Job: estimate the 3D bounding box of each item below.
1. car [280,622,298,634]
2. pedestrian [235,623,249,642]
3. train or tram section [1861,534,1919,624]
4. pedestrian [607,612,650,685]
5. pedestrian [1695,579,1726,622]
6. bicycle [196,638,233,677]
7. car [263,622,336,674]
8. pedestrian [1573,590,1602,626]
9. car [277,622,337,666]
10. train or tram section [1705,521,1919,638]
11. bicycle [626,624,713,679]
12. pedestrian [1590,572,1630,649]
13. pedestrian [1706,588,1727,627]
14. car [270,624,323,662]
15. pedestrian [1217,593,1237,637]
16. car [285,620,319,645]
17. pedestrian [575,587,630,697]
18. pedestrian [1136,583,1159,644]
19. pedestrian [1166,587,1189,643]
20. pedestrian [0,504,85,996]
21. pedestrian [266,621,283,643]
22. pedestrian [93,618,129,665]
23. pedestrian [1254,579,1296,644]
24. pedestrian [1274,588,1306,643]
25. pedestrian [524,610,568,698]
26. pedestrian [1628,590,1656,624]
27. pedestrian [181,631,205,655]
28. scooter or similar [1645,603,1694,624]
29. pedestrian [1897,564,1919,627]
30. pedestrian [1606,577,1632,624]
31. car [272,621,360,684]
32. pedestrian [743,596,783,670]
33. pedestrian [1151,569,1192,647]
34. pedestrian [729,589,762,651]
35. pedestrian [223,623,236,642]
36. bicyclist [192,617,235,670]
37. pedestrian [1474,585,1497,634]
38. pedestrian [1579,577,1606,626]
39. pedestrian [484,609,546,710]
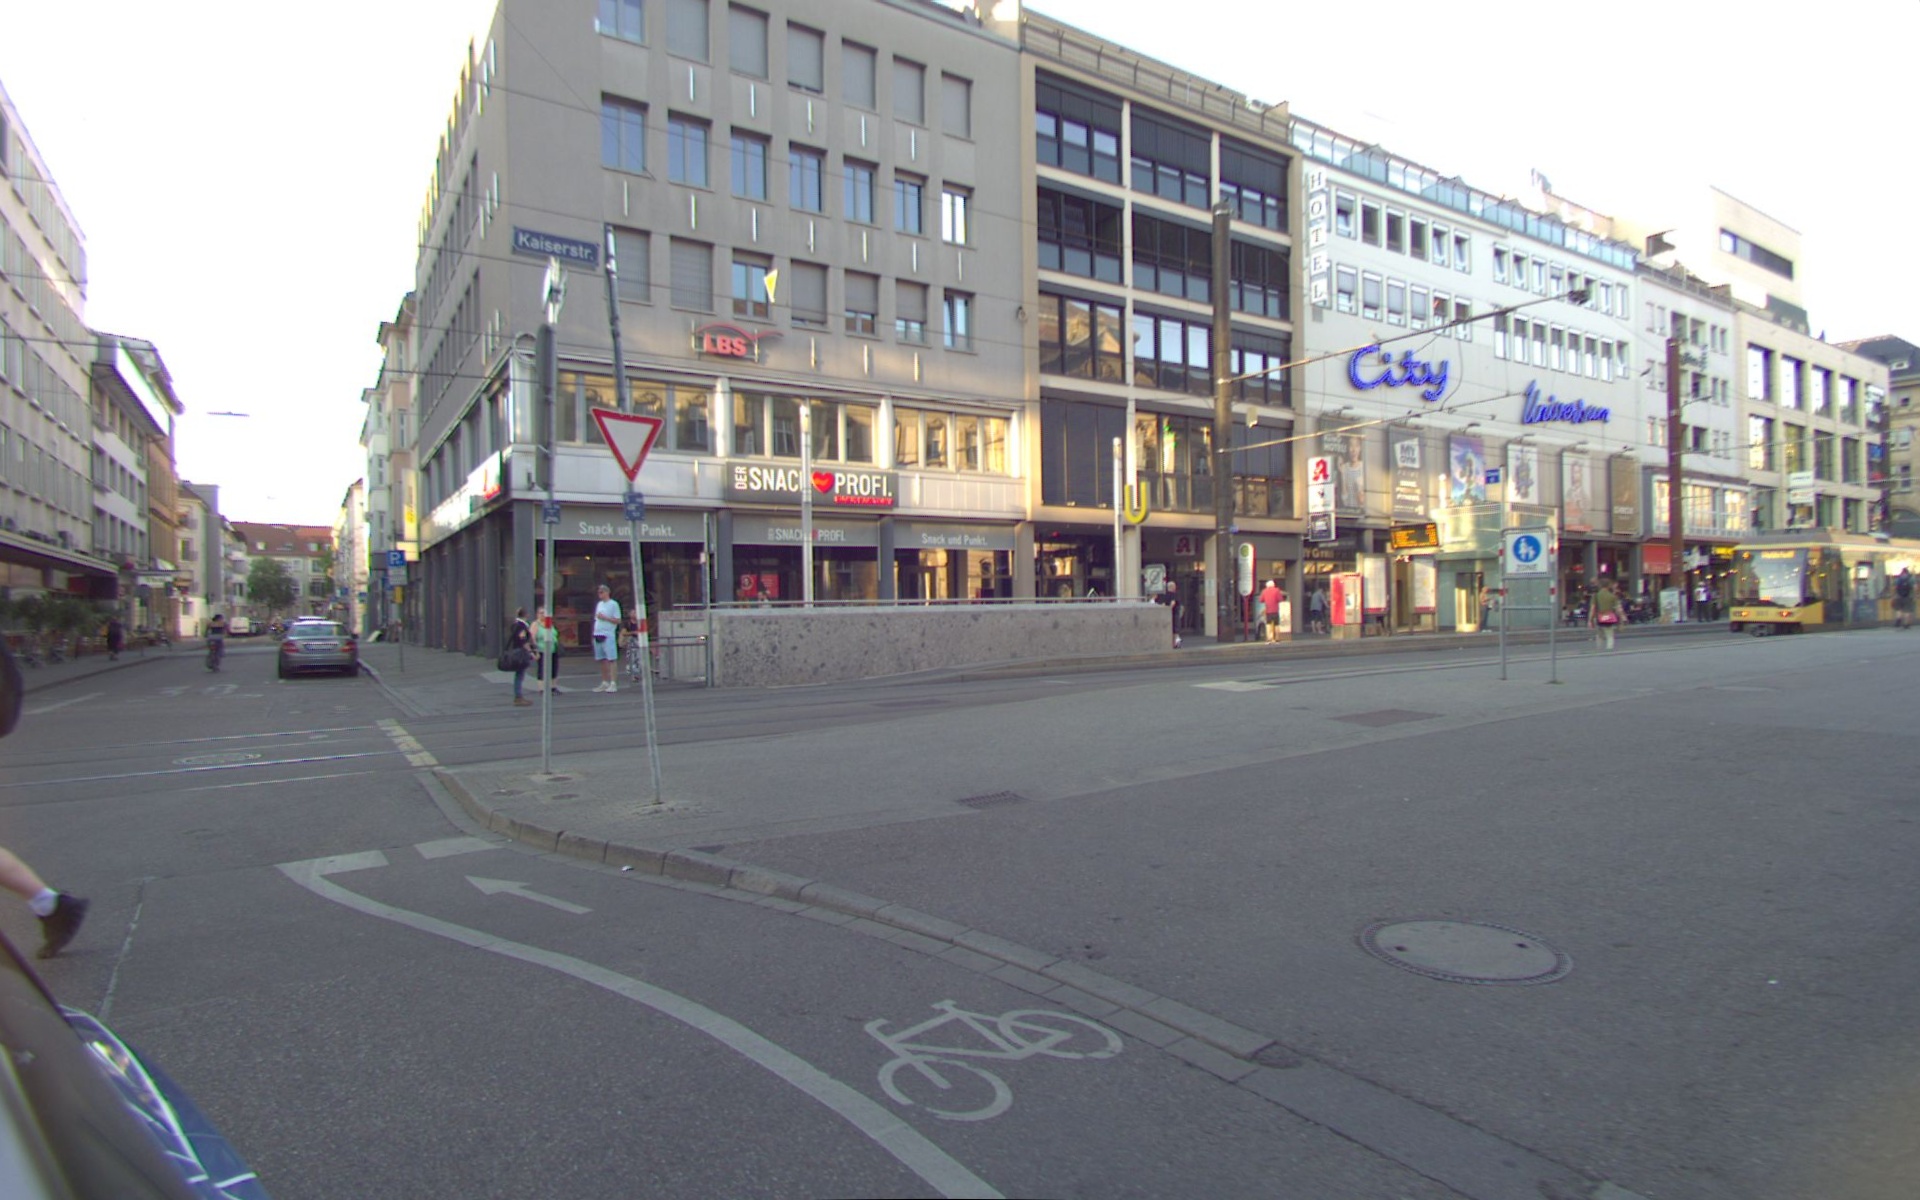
[{"bbox_3d":[-82.777,3.430,124.891,1.769,1.522,4.011,0,-1,-32],"label":"car"},{"bbox_3d":[-64.251,2.874,90.597,0.961,1.674,0.981,-1,0,-33],"label":"pedestrian"},{"bbox_3d":[41.631,-0.904,41.964,14.265,3.344,2.817,-1,-1,-34],"label":"train or tram section"},{"bbox_3d":[-6.719,0.974,20.528,0.676,1.445,0.554,-1,-1,5],"label":"pedestrian"},{"bbox_3d":[30.637,0.038,41.319,0.697,1.738,0.777,0,-2,-33],"label":"pedestrian"},{"bbox_3d":[-22.405,1.701,30.426,0.804,1.081,2.119,-1,-1,-34],"label":"bicycle"},{"bbox_3d":[-20.844,1.458,31.865,1.770,1.522,4.143,0,-1,-35],"label":"car"},{"bbox_3d":[24.817,0.326,40.010,0.708,1.389,0.711,0,-2,-34],"label":"pedestrian"},{"bbox_3d":[-24.010,1.571,37.282,1.769,1.522,4.011,0,-1,-32],"label":"car"},{"bbox_3d":[29.768,-0.670,34.048,14.265,3.344,2.817,-1,-1,-34],"label":"train or tram section"},{"bbox_3d":[-6.476,1.132,22.616,1.769,1.116,0.502,-3,0,-28],"label":"bicycle"},{"bbox_3d":[14.830,0.246,23.093,0.718,1.738,0.701,-2,-2,35],"label":"pedestrian"},{"bbox_3d":[34.301,0.331,45.863,0.598,1.740,0.604,0,-2,-40],"label":"pedestrian"},{"bbox_3d":[-27.839,1.765,42.550,1.769,1.522,4.011,0,-1,-32],"label":"car"},{"bbox_3d":[9.660,0.548,36.615,0.510,1.559,0.510,0,-2,-41],"label":"pedestrian"},{"bbox_3d":[-42.245,2.068,65.008,1.769,1.522,4.011,0,-1,-32],"label":"car"},{"bbox_3d":[-6.456,0.745,18.283,0.698,1.941,0.776,0,-2,-41],"label":"pedestrian"},{"bbox_3d":[5.490,0.393,29.598,0.622,1.738,0.602,-1,-1,14],"label":"pedestrian"},{"bbox_3d":[6.328,0.449,29.422,0.622,1.600,0.602,-1,-1,15],"label":"pedestrian"},{"bbox_3d":[-4.230,0.577,3.970,1.015,1.877,1.029,-1,0,38],"label":"pedestrian"},{"bbox_3d":[-53.266,2.465,78.655,0.856,1.674,0.934,-2,0,-18],"label":"pedestrian"},{"bbox_3d":[-31.453,1.526,37.520,0.856,1.674,0.933,-1,0,-30],"label":"pedestrian"},{"bbox_3d":[8.435,0.319,27.130,0.773,1.710,0.718,0,-2,-33],"label":"pedestrian"},{"bbox_3d":[9.681,0.453,29.714,0.595,1.600,0.630,0,-1,-19],"label":"pedestrian"},{"bbox_3d":[-7.249,0.935,17.703,0.547,1.505,0.606,0,-2,-41],"label":"pedestrian"},{"bbox_3d":[28.012,0.294,41.591,0.708,1.389,0.711,0,-2,-34],"label":"pedestrian"},{"bbox_3d":[-57.864,3.236,76.358,1.278,1.674,1.017,-1,0,-31],"label":"pedestrian"},{"bbox_3d":[28.706,0.540,40.969,1.507,0.837,0.558,-1,-1,6],"label":"scooter or similar"},{"bbox_3d":[28.689,-0.133,30.439,0.736,1.837,0.808,-1,-4,43],"label":"pedestrian"},{"bbox_3d":[24.435,0.030,37.549,0.706,1.738,0.768,-1,-2,28],"label":"pedestrian"},{"bbox_3d":[-17.262,1.342,27.055,1.770,1.522,4.143,0,-1,-35],"label":"car"},{"bbox_3d":[-4.708,0.784,24.112,0.697,1.738,0.718,0,-2,-35],"label":"pedestrian"},{"bbox_3d":[5.315,0.210,25.456,0.698,1.939,0.717,0,-2,-38],"label":"pedestrian"},{"bbox_3d":[-6.143,0.574,29.031,0.697,1.738,0.718,0,-2,-35],"label":"pedestrian"},{"bbox_3d":[-65.092,2.883,90.125,0.857,1.674,0.933,-1,0,-33],"label":"pedestrian"},{"bbox_3d":[-22.269,1.278,30.222,0.983,1.513,0.859,-1,-1,-34],"label":"bicyclist"},{"bbox_3d":[17.587,0.319,33.895,0.497,1.630,0.513,1,-2,-42],"label":"pedestrian"},{"bbox_3d":[22.892,0.068,36.632,0.706,1.738,0.768,-1,-2,26],"label":"pedestrian"},{"bbox_3d":[-7.014,0.927,15.971,0.680,1.553,0.602,-1,-1,15],"label":"pedestrian"}]
